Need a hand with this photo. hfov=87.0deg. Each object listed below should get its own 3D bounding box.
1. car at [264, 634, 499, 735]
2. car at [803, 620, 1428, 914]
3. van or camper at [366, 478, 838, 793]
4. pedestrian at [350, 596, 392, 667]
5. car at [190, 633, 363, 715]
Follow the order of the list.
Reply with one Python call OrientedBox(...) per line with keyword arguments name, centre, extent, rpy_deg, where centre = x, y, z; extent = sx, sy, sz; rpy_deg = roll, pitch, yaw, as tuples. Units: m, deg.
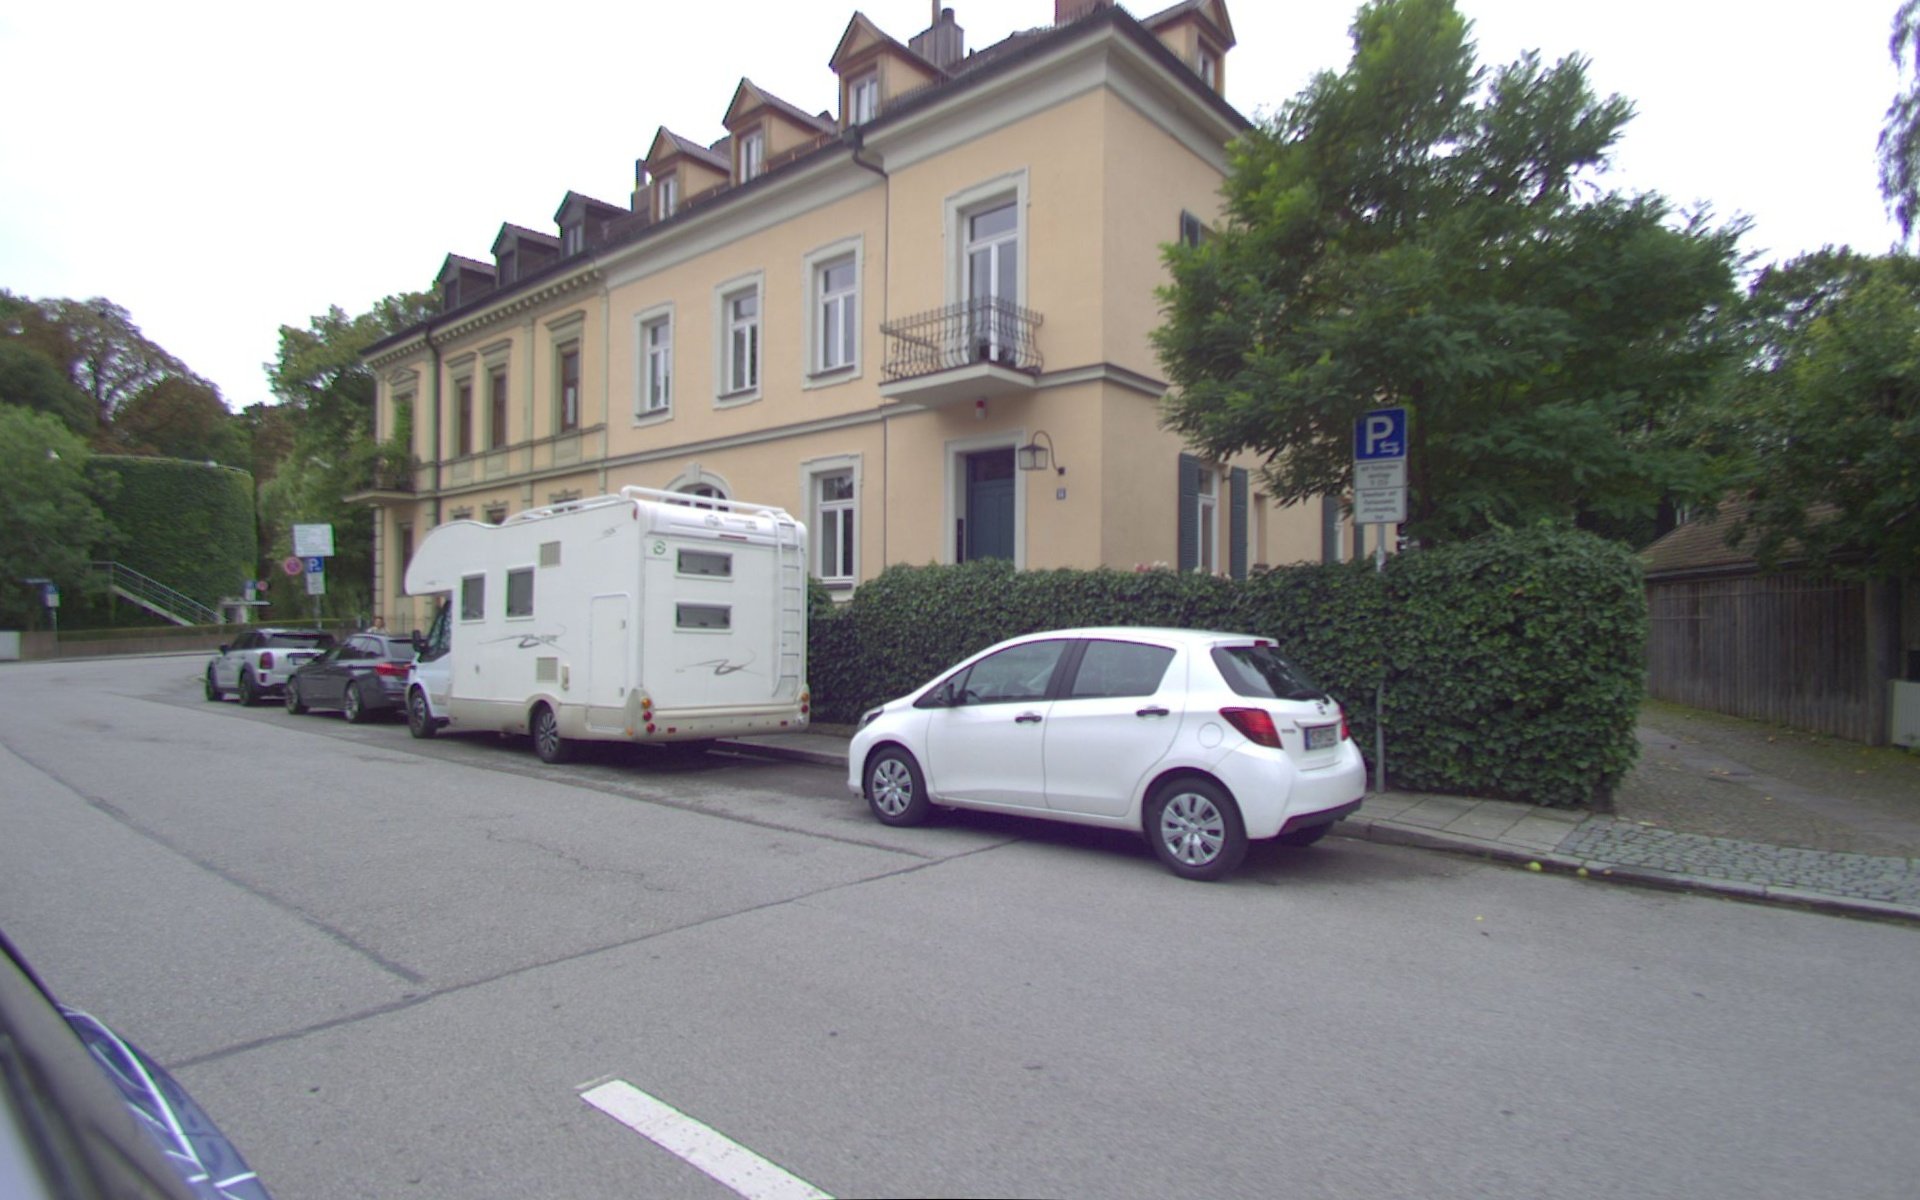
OrientedBox(name="car", centre=(-10.126, 1.388, 17.555), extent=(4.817, 1.520, 1.916), rpy_deg=(-2, -5, 40))
OrientedBox(name="car", centre=(0.933, 0.981, 7.407), extent=(4.225, 1.547, 1.760), rpy_deg=(-2, -5, 41))
OrientedBox(name="van or camper", centre=(-4.876, 0.472, 12.854), extent=(7.209, 2.963, 2.429), rpy_deg=(-2, -4, 42))
OrientedBox(name="pedestrian", centre=(-13.794, 0.736, 23.691), extent=(0.739, 1.616, 0.646), rpy_deg=(-2, -2, 41))
OrientedBox(name="car", centre=(-14.537, 1.520, 21.426), extent=(4.529, 1.547, 1.915), rpy_deg=(-2, -5, 42))
